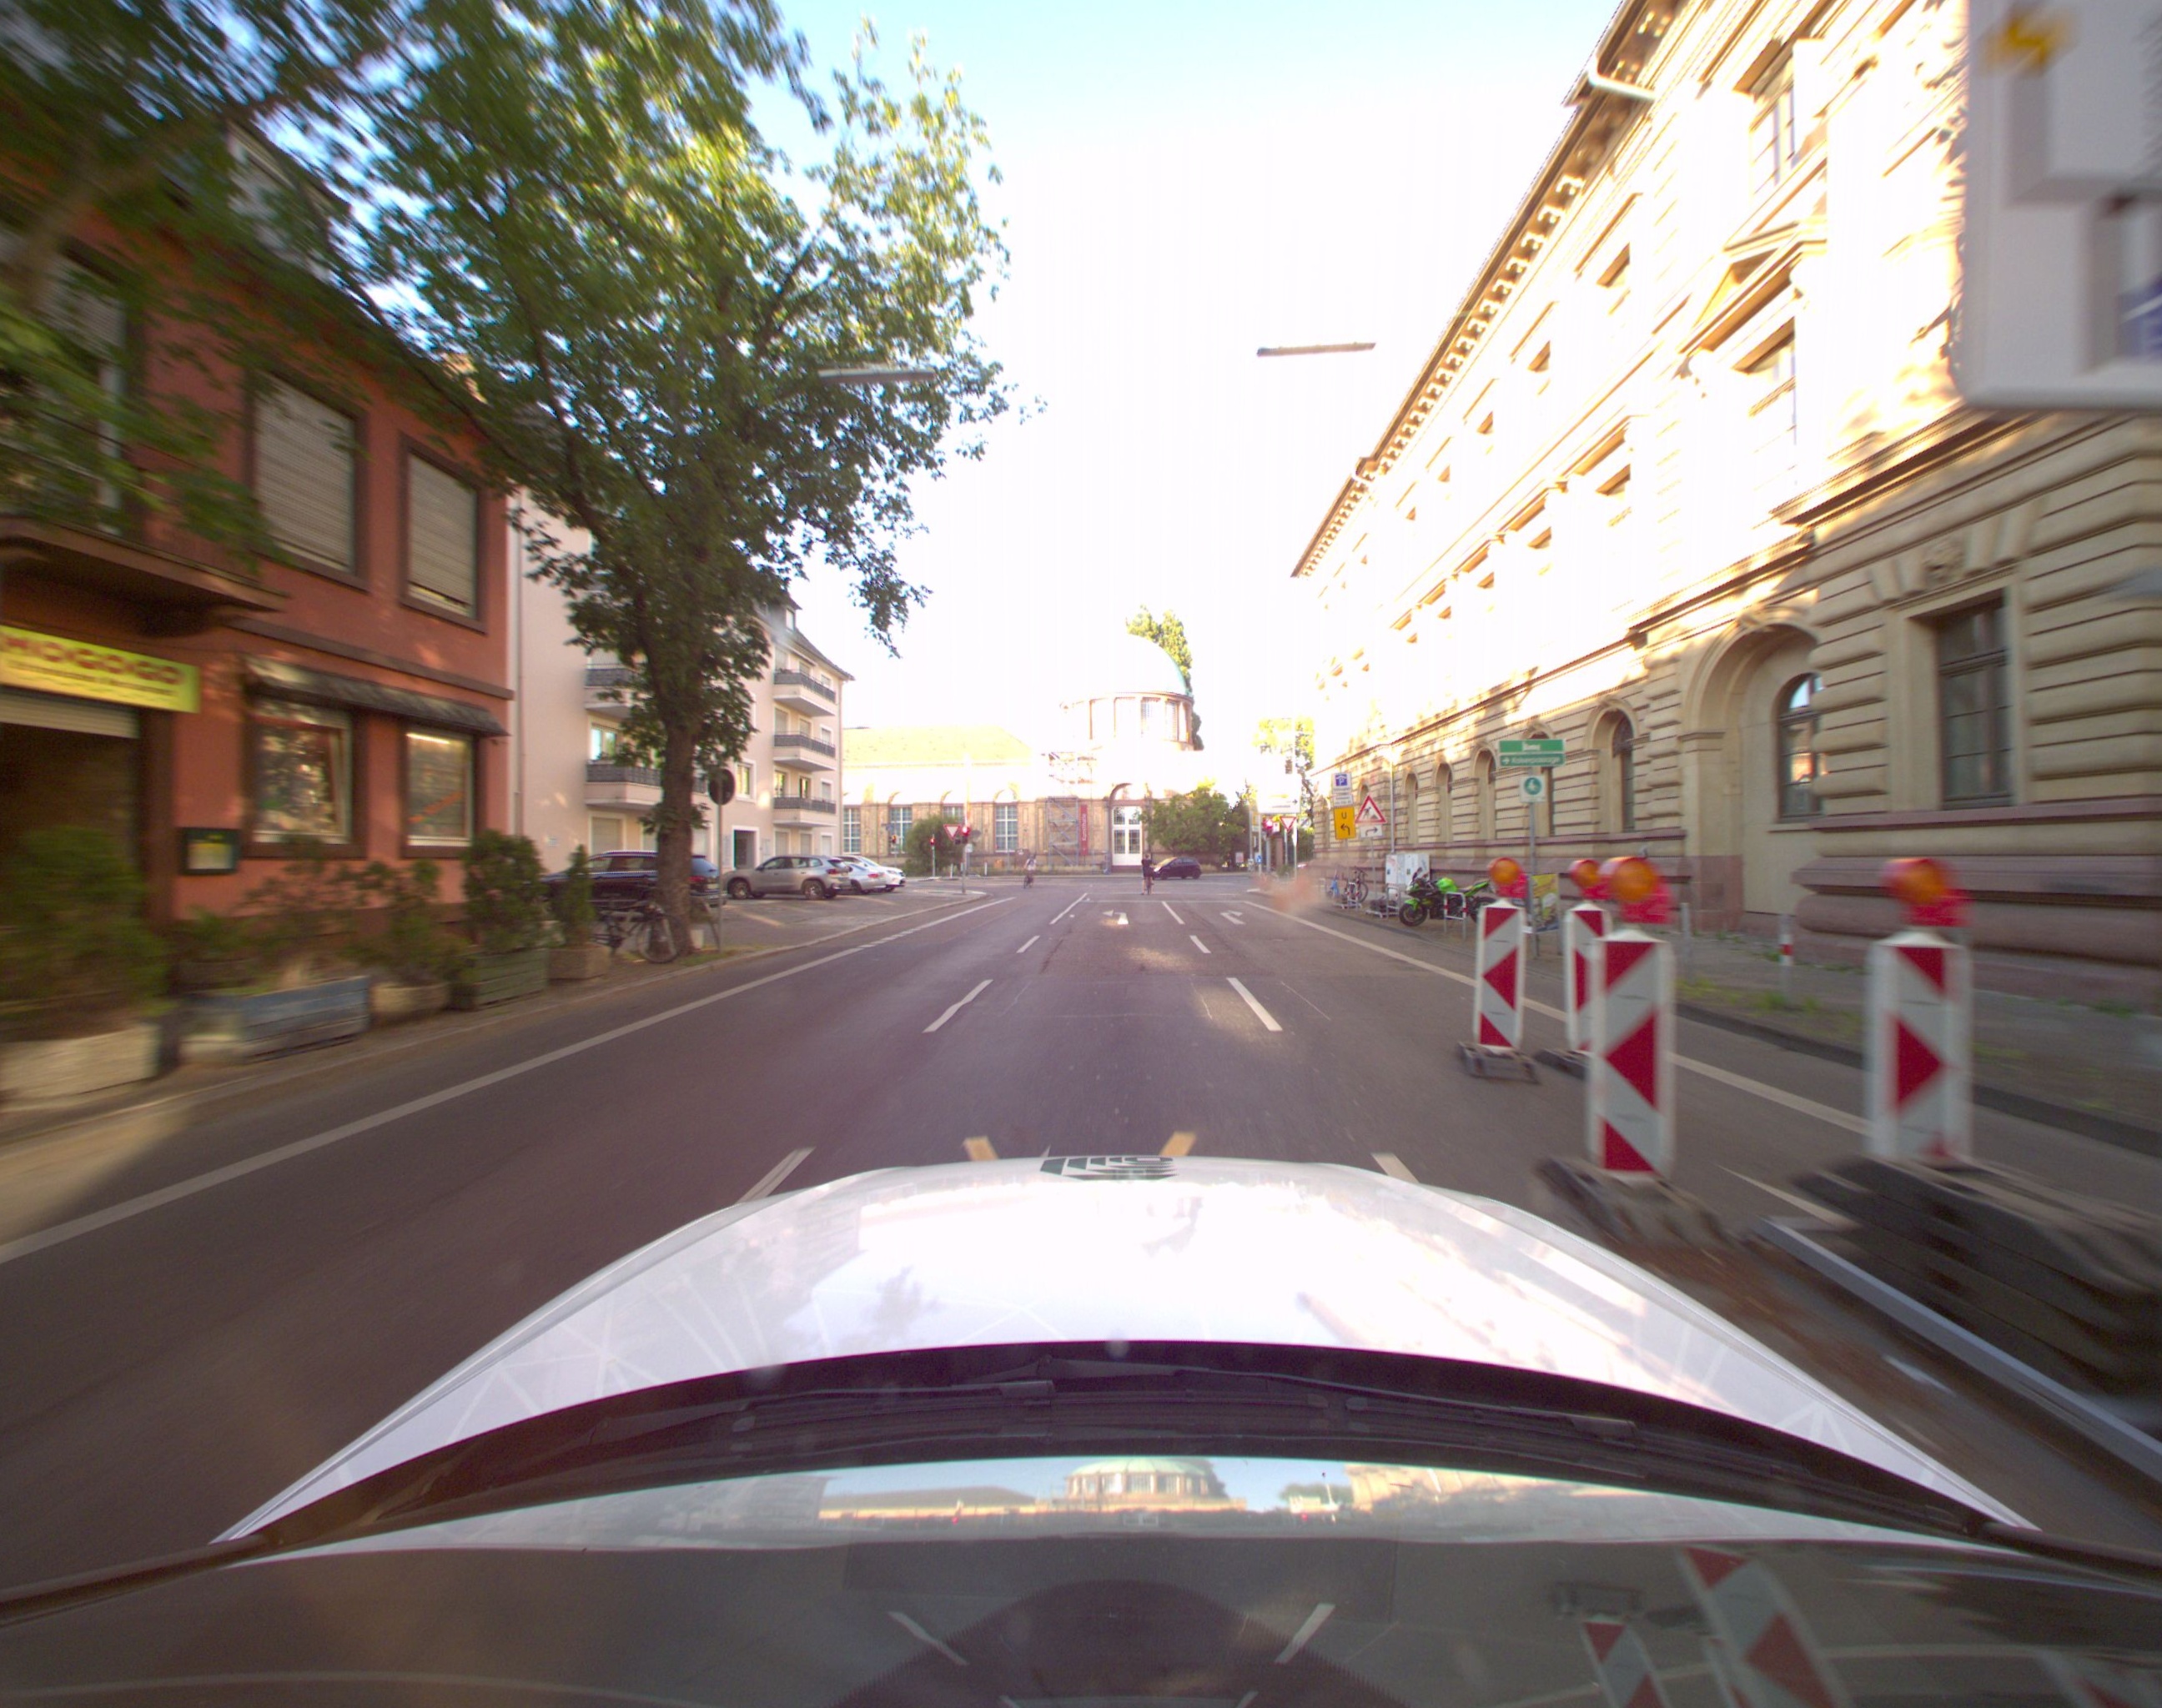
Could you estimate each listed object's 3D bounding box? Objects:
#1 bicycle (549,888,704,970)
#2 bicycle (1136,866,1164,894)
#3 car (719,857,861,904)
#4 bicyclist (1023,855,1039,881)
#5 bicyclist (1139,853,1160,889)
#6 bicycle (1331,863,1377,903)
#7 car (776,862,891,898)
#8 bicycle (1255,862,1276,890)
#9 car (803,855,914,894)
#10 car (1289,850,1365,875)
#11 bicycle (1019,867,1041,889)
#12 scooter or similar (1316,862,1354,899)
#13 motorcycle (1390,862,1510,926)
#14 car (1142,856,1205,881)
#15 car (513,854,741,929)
[{"bbox_3d":[-6.562,1.074,11.819,1.862,1.104,0.610,-1,-1,-4],"label":"bicycle"},{"bbox_3d":[2.969,1.118,34.802,0.706,1.156,2.078,-2,-2,18],"label":"bicycle"},{"bbox_3d":[-10.491,0.927,29.555,4.402,1.605,1.917,1,0,1],"label":"car"},{"bbox_3d":[-2.728,0.777,44.236,0.621,1.364,0.932,-1,-2,13],"label":"bicyclist"},{"bbox_3d":[2.914,0.712,34.686,0.710,1.502,0.854,-2,-2,17],"label":"bicyclist"},{"bbox_3d":[8.421,0.875,25.217,0.824,1.134,1.946,-4,0,3],"label":"bicycle"},{"bbox_3d":[-10.261,1.057,33.960,4.251,1.380,1.736,1,0,1],"label":"car"},{"bbox_3d":[8.162,0.987,36.127,0.579,1.188,1.922,-1,-2,3],"label":"bicycle"},{"bbox_3d":[-9.915,0.899,36.531,4.424,1.641,1.943,1,0,1],"label":"car"},{"bbox_3d":[17.383,0.577,57.729,4.812,1.545,1.838,-2,0,2],"label":"car"},{"bbox_3d":[-2.741,1.296,44.135,0.620,1.156,2.059,-1,-2,12],"label":"bicycle"},{"bbox_3d":[8.362,0.868,26.798,1.123,1.195,0.585,-1,0,10],"label":"scooter or similar"},{"bbox_3d":[7.494,0.824,16.594,2.077,1.215,0.715,-4,-1,32],"label":"motorcycle"},{"bbox_3d":[6.218,0.936,54.686,3.856,1.471,1.651,-2,1,-22],"label":"car"},{"bbox_3d":[-10.808,0.850,19.623,4.402,1.665,1.864,1,0,1],"label":"car"}]
